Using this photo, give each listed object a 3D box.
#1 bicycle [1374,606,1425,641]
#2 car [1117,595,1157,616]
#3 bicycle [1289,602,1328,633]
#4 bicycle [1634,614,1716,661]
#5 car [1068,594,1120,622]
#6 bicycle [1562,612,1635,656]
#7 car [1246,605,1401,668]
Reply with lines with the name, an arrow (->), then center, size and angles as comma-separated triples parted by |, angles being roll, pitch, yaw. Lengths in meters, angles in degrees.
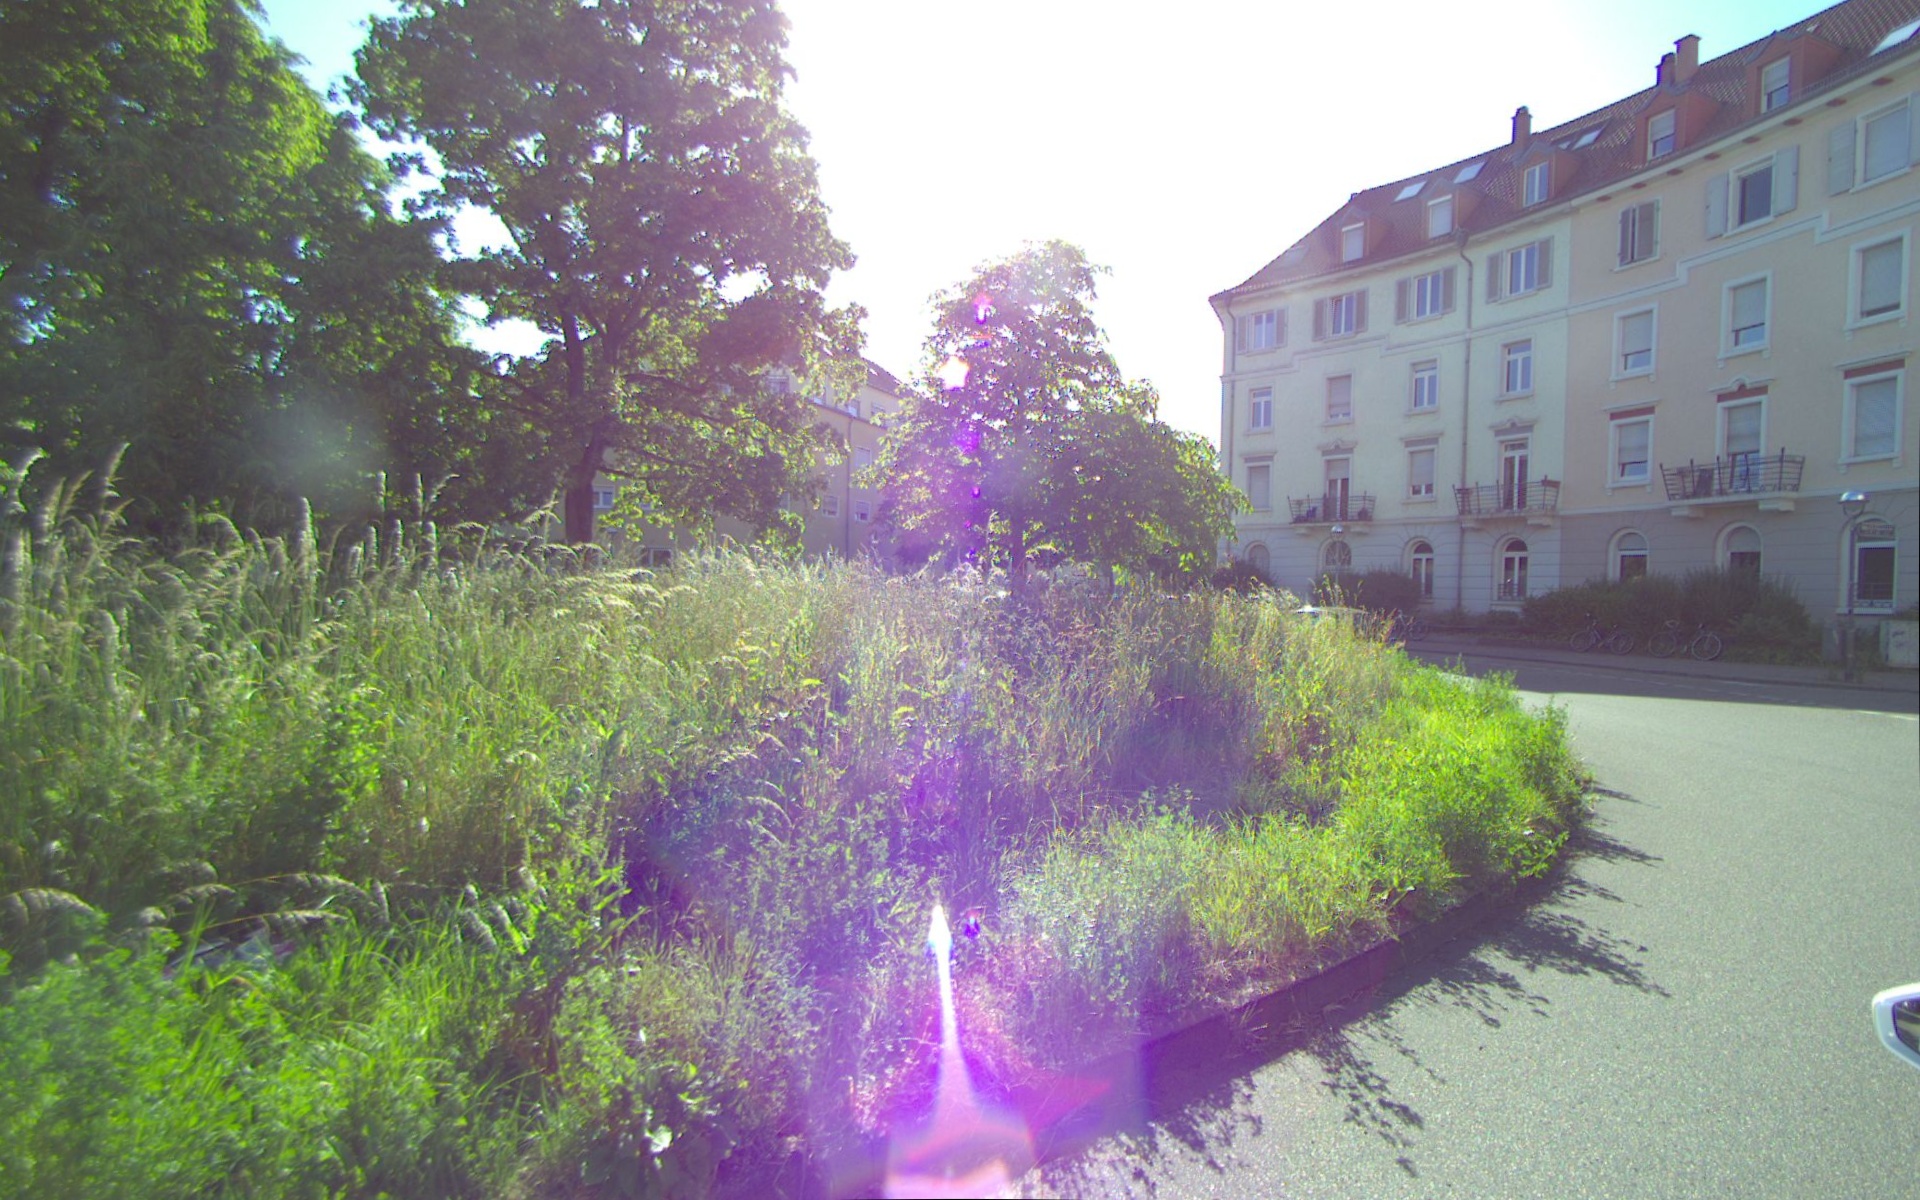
bicycle -> 14.674, 0.773, 33.543 | 0.495, 1.103, 1.676 | -1, 1, -24
car -> 11.283, 0.344, 63.826 | 1.765, 1.272, 3.718 | 1, 0, 21
bicycle -> 13.275, 0.655, 38.245 | 1.665, 1.122, 0.495 | 0, 1, -35
bicycle -> 18.253, 0.940, 25.683 | 0.496, 1.103, 1.675 | -1, 1, -26
car -> 7.266, 0.408, 54.116 | 1.765, 1.432, 3.998 | 1, 0, 23
bicycle -> 17.525, 0.918, 27.599 | 0.496, 1.103, 1.675 | -1, 1, -26
car -> 9.248, 0.874, 25.920 | 1.839, 1.438, 3.988 | 0, 1, -14
